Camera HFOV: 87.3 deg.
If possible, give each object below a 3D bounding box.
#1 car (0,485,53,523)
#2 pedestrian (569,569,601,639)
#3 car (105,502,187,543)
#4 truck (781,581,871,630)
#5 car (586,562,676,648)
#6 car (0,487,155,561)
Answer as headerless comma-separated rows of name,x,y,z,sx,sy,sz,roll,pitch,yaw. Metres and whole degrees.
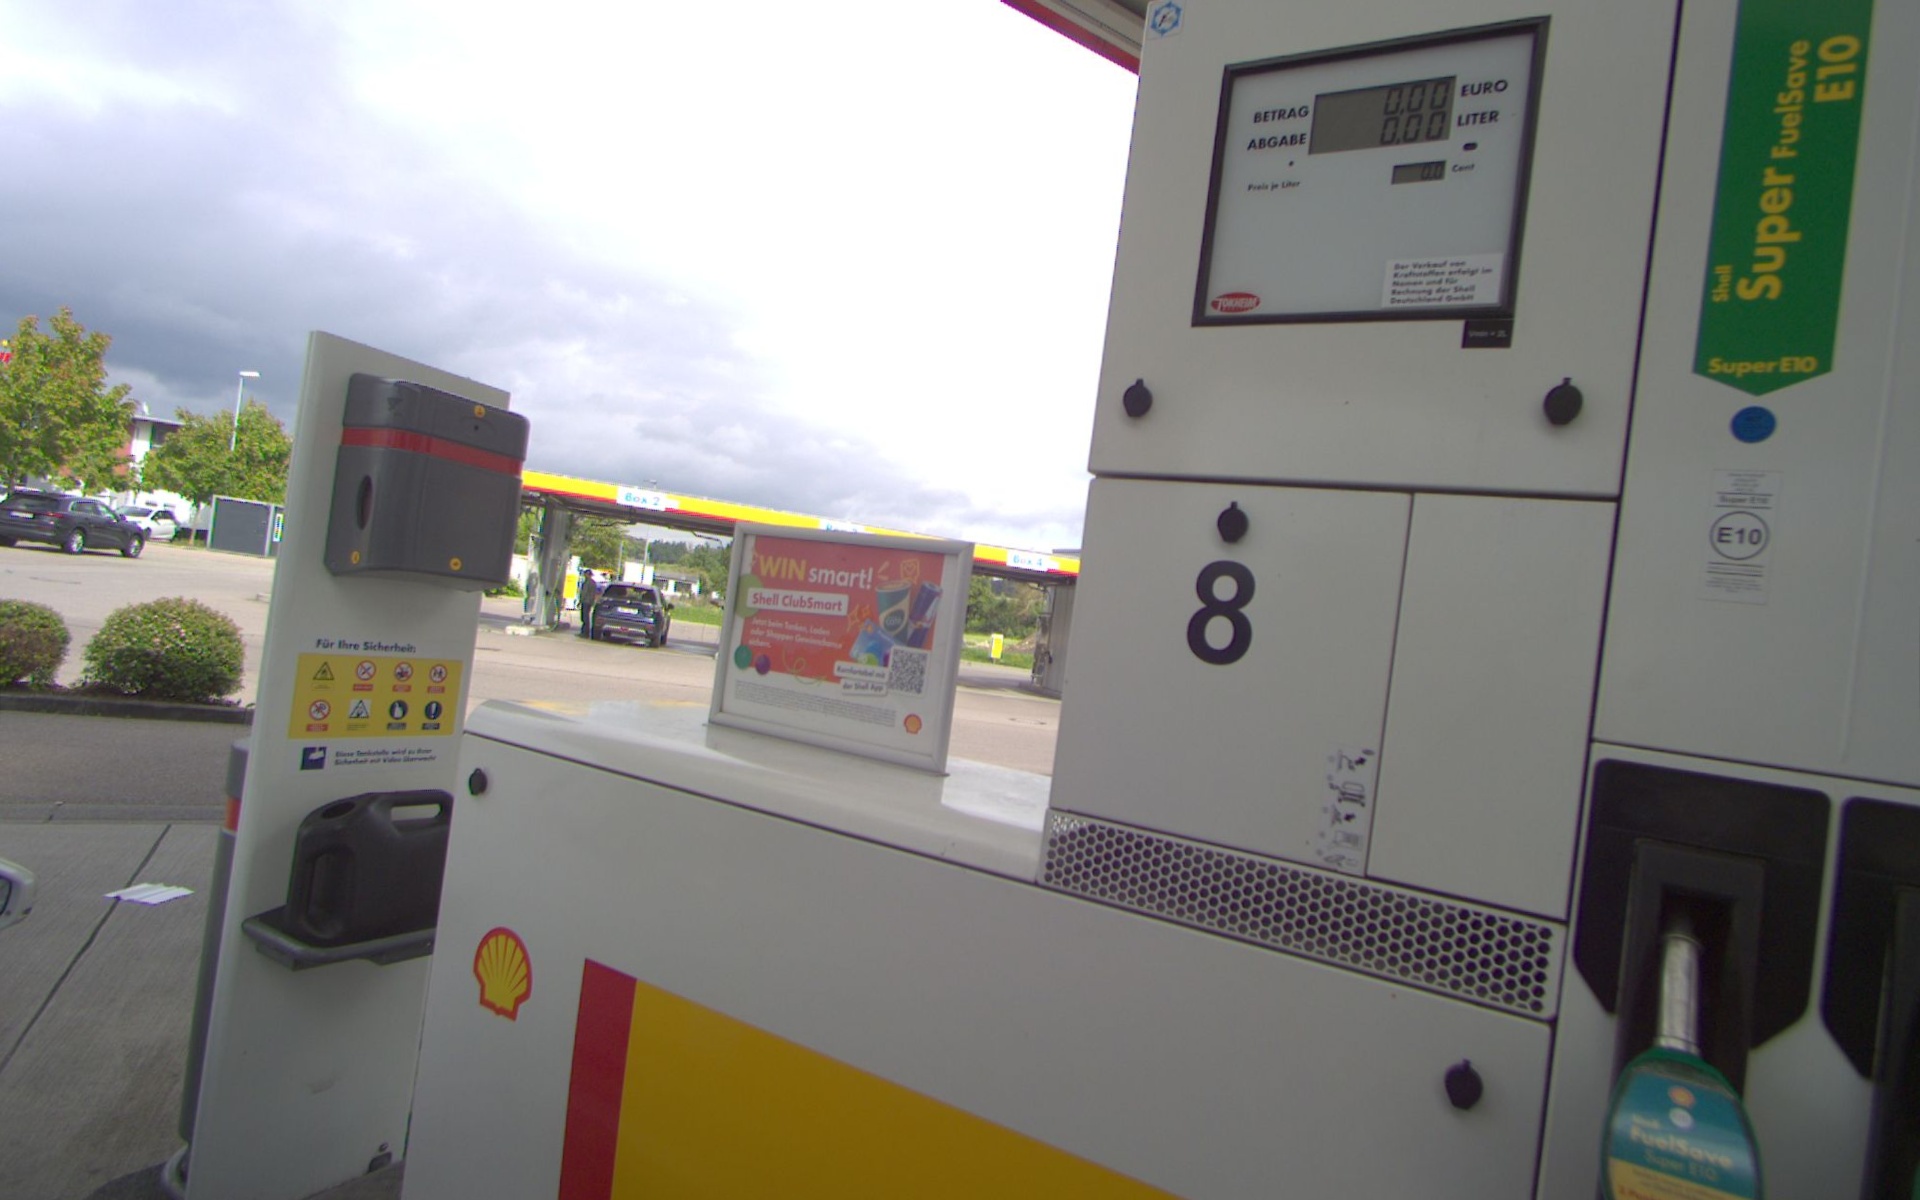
car,-57.359,-5.904,60.246,2.149,1.854,4.870,8,-2,-11
pedestrian,-9.723,0.098,26.083,0.550,1.742,0.526,7,-1,-21
car,-35.258,-3.340,43.651,1.346,1.322,3.098,8,-2,-12
truck,-13.016,0.566,97.512,7.978,3.575,2.687,8,-2,-19
car,-8.696,0.152,26.868,1.696,1.919,3.800,8,-2,-12
car,-25.928,-2.168,29.266,1.855,1.566,4.498,8,-2,-10
